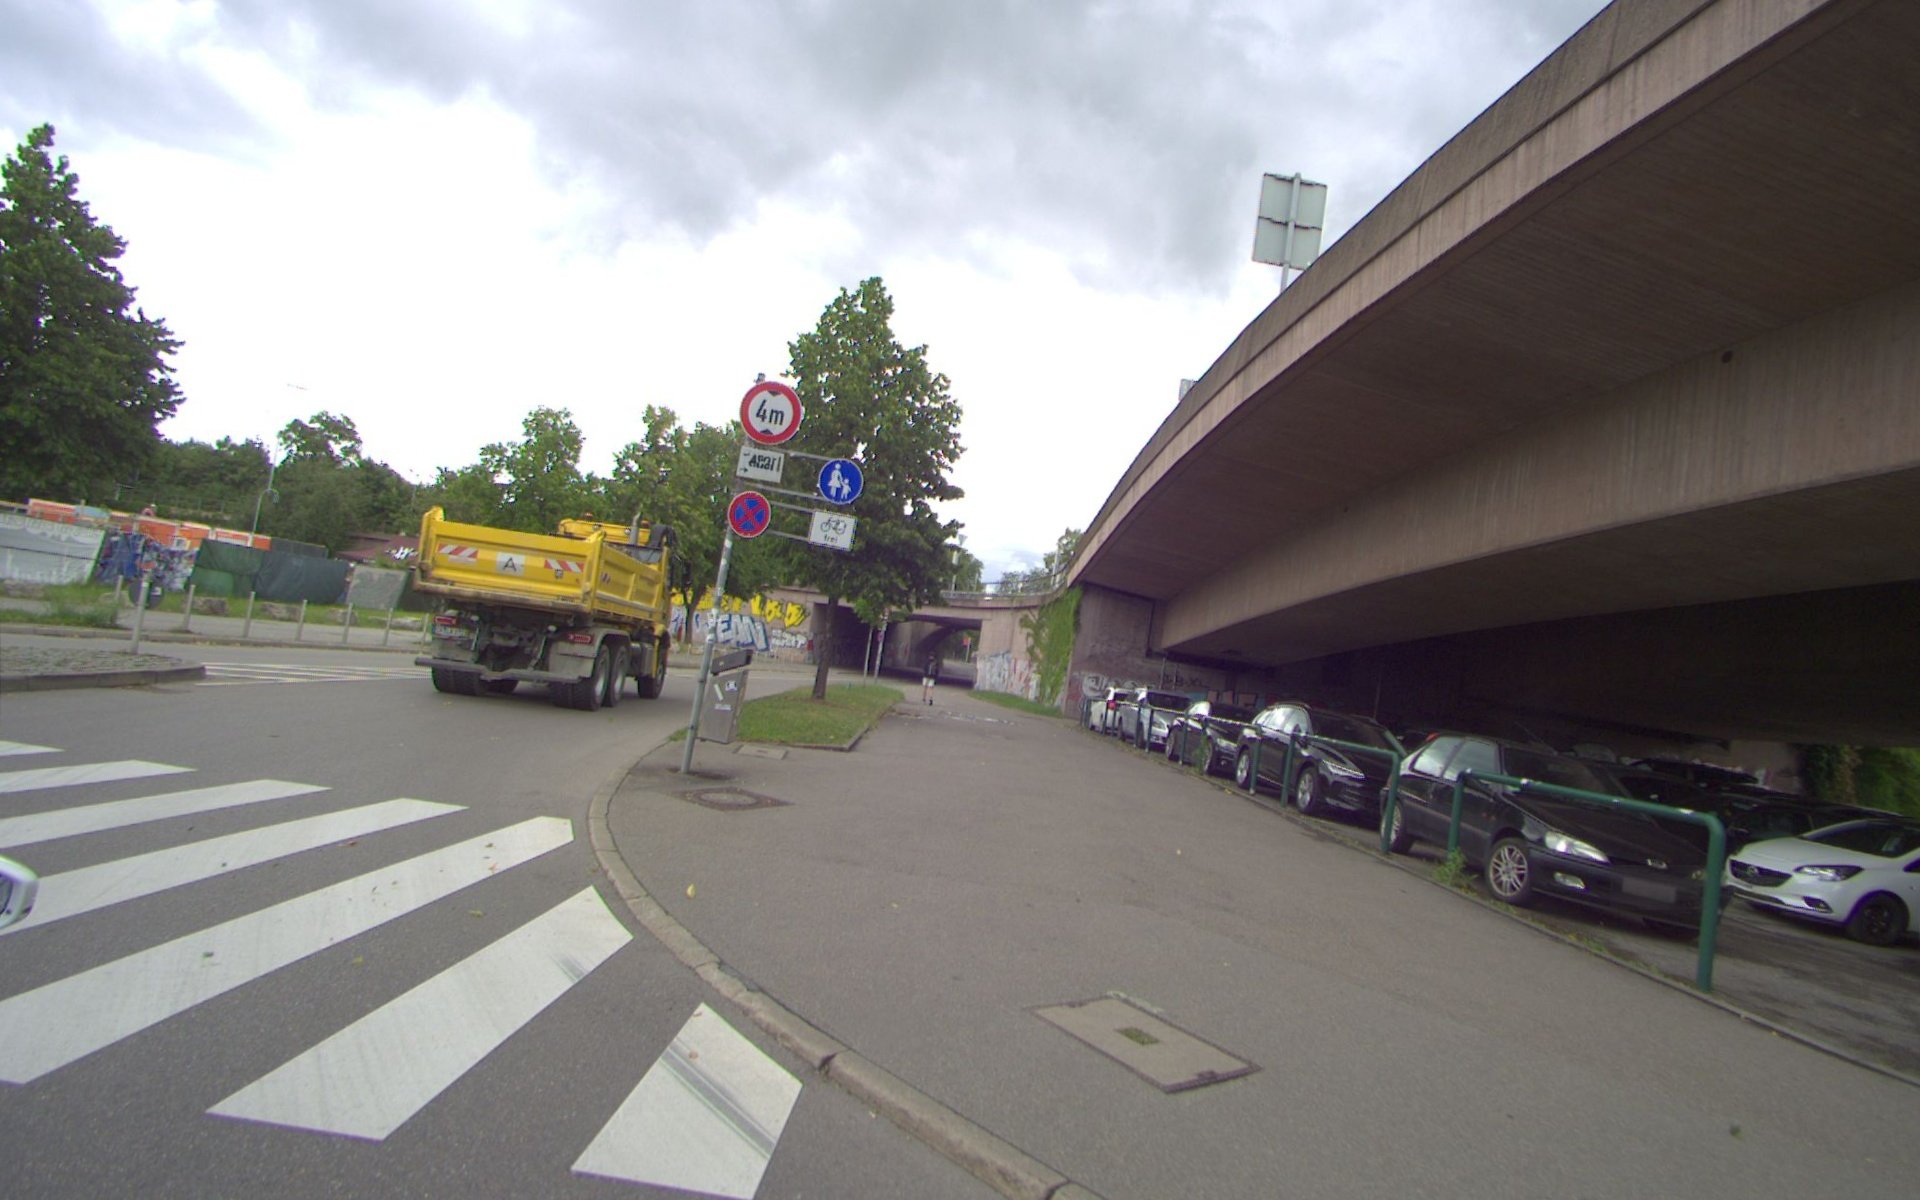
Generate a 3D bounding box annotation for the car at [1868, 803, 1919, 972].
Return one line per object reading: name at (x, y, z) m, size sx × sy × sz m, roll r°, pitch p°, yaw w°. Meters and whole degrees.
car at (11.362, 3.124, 9.530) m, size 3.939 × 1.569 × 1.640 m, roll 9°, pitch -2°, yaw -1°

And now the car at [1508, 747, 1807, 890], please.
car at (11.628, 3.621, 16.921) m, size 3.795 × 1.572 × 1.699 m, roll 9°, pitch -2°, yaw -4°

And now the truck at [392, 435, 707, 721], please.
truck at (-6.894, -0.129, 18.479) m, size 2.719 × 3.738 × 7.882 m, roll 9°, pitch -3°, yaw -5°

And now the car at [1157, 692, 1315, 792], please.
car at (5.202, 2.661, 19.580) m, size 1.740 × 1.335 × 4.380 m, roll 9°, pitch -3°, yaw 1°

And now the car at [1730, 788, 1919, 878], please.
car at (22.109, 5.906, 25.576) m, size 3.595 × 1.442 × 1.681 m, roll 9°, pitch -3°, yaw 2°

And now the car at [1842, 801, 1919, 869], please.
car at (27.475, 6.796, 27.951) m, size 4.115 × 1.481 × 1.841 m, roll 9°, pitch -3°, yaw 2°

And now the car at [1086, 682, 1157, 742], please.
car at (4.928, 3.417, 31.044) m, size 1.550 × 1.455 × 3.382 m, roll 9°, pitch -3°, yaw 2°

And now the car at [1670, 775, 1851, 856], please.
car at (22.442, 6.017, 28.306) m, size 3.595 × 1.442 × 1.681 m, roll 9°, pitch -3°, yaw 2°

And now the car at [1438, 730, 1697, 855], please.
car at (11.501, 3.621, 19.203) m, size 3.795 × 1.572 × 1.759 m, roll 9°, pitch -3°, yaw -4°

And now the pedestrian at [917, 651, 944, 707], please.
pedestrian at (-1.081, 2.884, 36.917) m, size 0.723 × 1.928 × 0.826 m, roll 8°, pitch -2°, yaw -1°

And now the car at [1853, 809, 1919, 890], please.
car at (21.907, 5.634, 21.511) m, size 3.791 × 1.442 × 1.841 m, roll 9°, pitch -3°, yaw 2°

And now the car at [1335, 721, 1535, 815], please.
car at (11.199, 3.939, 23.849) m, size 3.795 × 1.450 × 1.759 m, roll 9°, pitch -3°, yaw -4°

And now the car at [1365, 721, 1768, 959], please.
car at (5.348, 2.040, 9.485) m, size 1.483 × 1.343 × 3.705 m, roll 11°, pitch -3°, yaw 3°

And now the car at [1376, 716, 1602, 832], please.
car at (11.309, 3.709, 21.649) m, size 3.795 × 1.712 × 1.758 m, roll 9°, pitch -2°, yaw -4°

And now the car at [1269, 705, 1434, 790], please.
car at (11.016, 4.145, 28.457) m, size 3.795 × 1.656 × 1.758 m, roll 9°, pitch -2°, yaw -4°

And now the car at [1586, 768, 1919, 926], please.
car at (11.699, 3.594, 14.848) m, size 3.795 × 1.459 × 1.699 m, roll 9°, pitch -3°, yaw -4°

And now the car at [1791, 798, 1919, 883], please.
car at (22.081, 5.760, 23.477) m, size 3.791 × 1.442 × 1.681 m, roll 9°, pitch -3°, yaw 2°

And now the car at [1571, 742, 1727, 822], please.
car at (22.407, 5.913, 32.840) m, size 3.595 × 1.808 × 1.886 m, roll 9°, pitch -2°, yaw 2°

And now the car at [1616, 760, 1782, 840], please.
car at (22.347, 6.036, 30.519) m, size 3.595 × 1.616 × 1.681 m, roll 9°, pitch -2°, yaw 2°

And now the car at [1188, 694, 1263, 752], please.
car at (9.019, 4.139, 34.419) m, size 1.716 × 1.515 × 4.007 m, roll 8°, pitch -3°, yaw 7°

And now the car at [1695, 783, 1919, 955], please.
car at (11.504, 3.390, 12.277) m, size 3.795 × 1.526 × 1.699 m, roll 9°, pitch -3°, yaw -4°

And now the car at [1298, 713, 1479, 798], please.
car at (11.070, 4.000, 26.136) m, size 3.795 × 1.454 × 1.759 m, roll 9°, pitch -3°, yaw -4°

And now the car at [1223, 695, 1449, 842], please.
car at (5.176, 2.270, 14.474) m, size 1.483 × 1.434 × 4.255 m, roll 10°, pitch -4°, yaw 1°

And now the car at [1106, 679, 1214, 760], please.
car at (4.976, 2.953, 25.530) m, size 1.588 × 1.551 × 4.073 m, roll 9°, pitch -3°, yaw -2°
